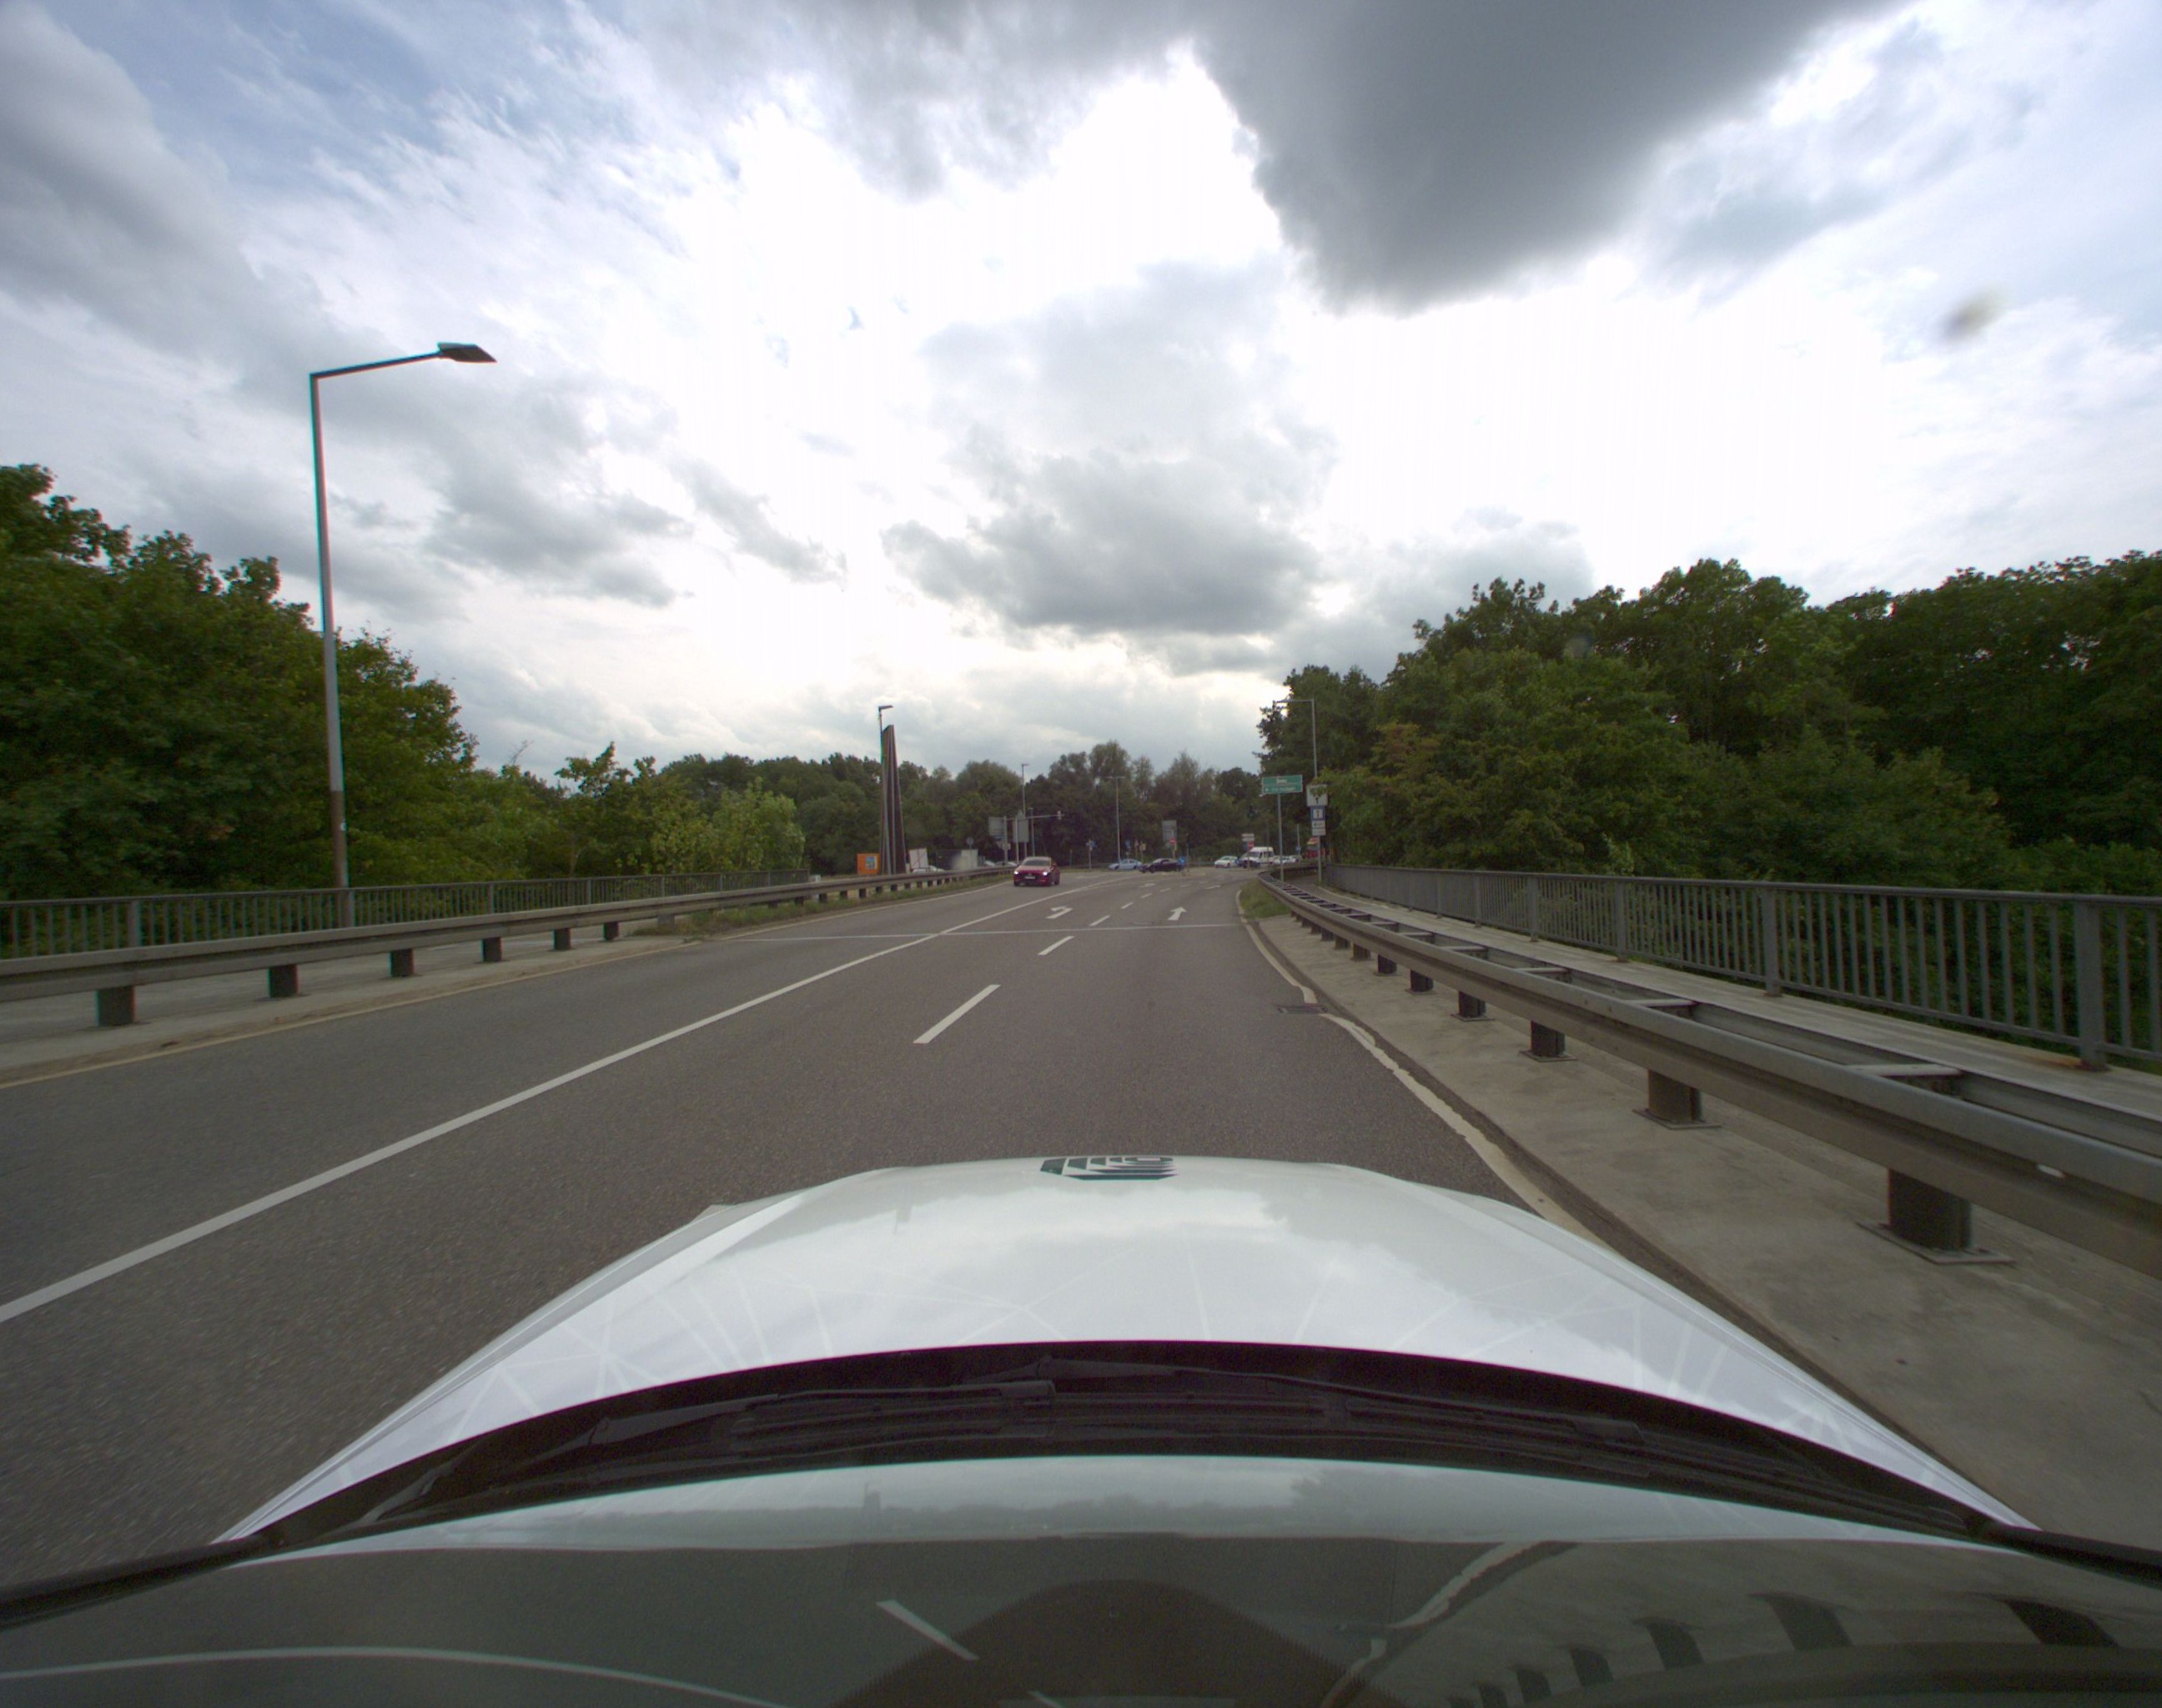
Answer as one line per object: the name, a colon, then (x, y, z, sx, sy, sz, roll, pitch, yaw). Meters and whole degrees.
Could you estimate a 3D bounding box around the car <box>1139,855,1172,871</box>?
car: (7.222, 0.878, 78.972, 1.976, 1.455, 4.678, -1, 0, 21)

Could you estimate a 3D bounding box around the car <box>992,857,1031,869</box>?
car: (-7.462, 0.968, 87.508, 3.757, 1.310, 2.013, -1, 0, 35)

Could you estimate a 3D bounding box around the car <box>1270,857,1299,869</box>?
car: (27.017, 1.211, 108.079, 1.974, 1.498, 4.427, -1, 0, 39)

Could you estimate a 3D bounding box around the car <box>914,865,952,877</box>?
car: (-17.424, 1.976, 95.722, 4.281, 1.310, 2.013, -1, 0, 35)

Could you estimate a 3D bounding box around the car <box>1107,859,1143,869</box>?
car: (5.665, 1.240, 104.269, 4.220, 1.205, 1.989, 0, 0, -17)

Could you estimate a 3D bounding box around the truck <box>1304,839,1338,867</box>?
truck: (36.474, -0.153, 123.758, 2.544, 4.083, 5.656, -1, -1, 45)

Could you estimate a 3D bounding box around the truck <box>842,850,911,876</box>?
truck: (-25.546, 1.122, 101.637, 9.156, 3.135, 2.990, -1, 0, 33)

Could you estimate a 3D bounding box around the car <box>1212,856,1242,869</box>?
car: (18.451, 1.098, 102.947, 1.974, 1.547, 4.567, -1, 0, 36)

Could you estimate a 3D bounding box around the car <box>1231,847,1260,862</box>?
car: (21.746, 0.095, 107.339, 1.974, 1.902, 4.193, -1, 0, 40)

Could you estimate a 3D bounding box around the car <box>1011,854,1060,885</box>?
car: (-2.199, 0.730, 40.800, 1.787, 1.472, 4.642, 0, 0, 5)

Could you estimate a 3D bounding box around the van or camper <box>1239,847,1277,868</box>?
van or camper: (22.316, 0.442, 102.616, 2.139, 2.589, 6.537, -1, 0, 37)
